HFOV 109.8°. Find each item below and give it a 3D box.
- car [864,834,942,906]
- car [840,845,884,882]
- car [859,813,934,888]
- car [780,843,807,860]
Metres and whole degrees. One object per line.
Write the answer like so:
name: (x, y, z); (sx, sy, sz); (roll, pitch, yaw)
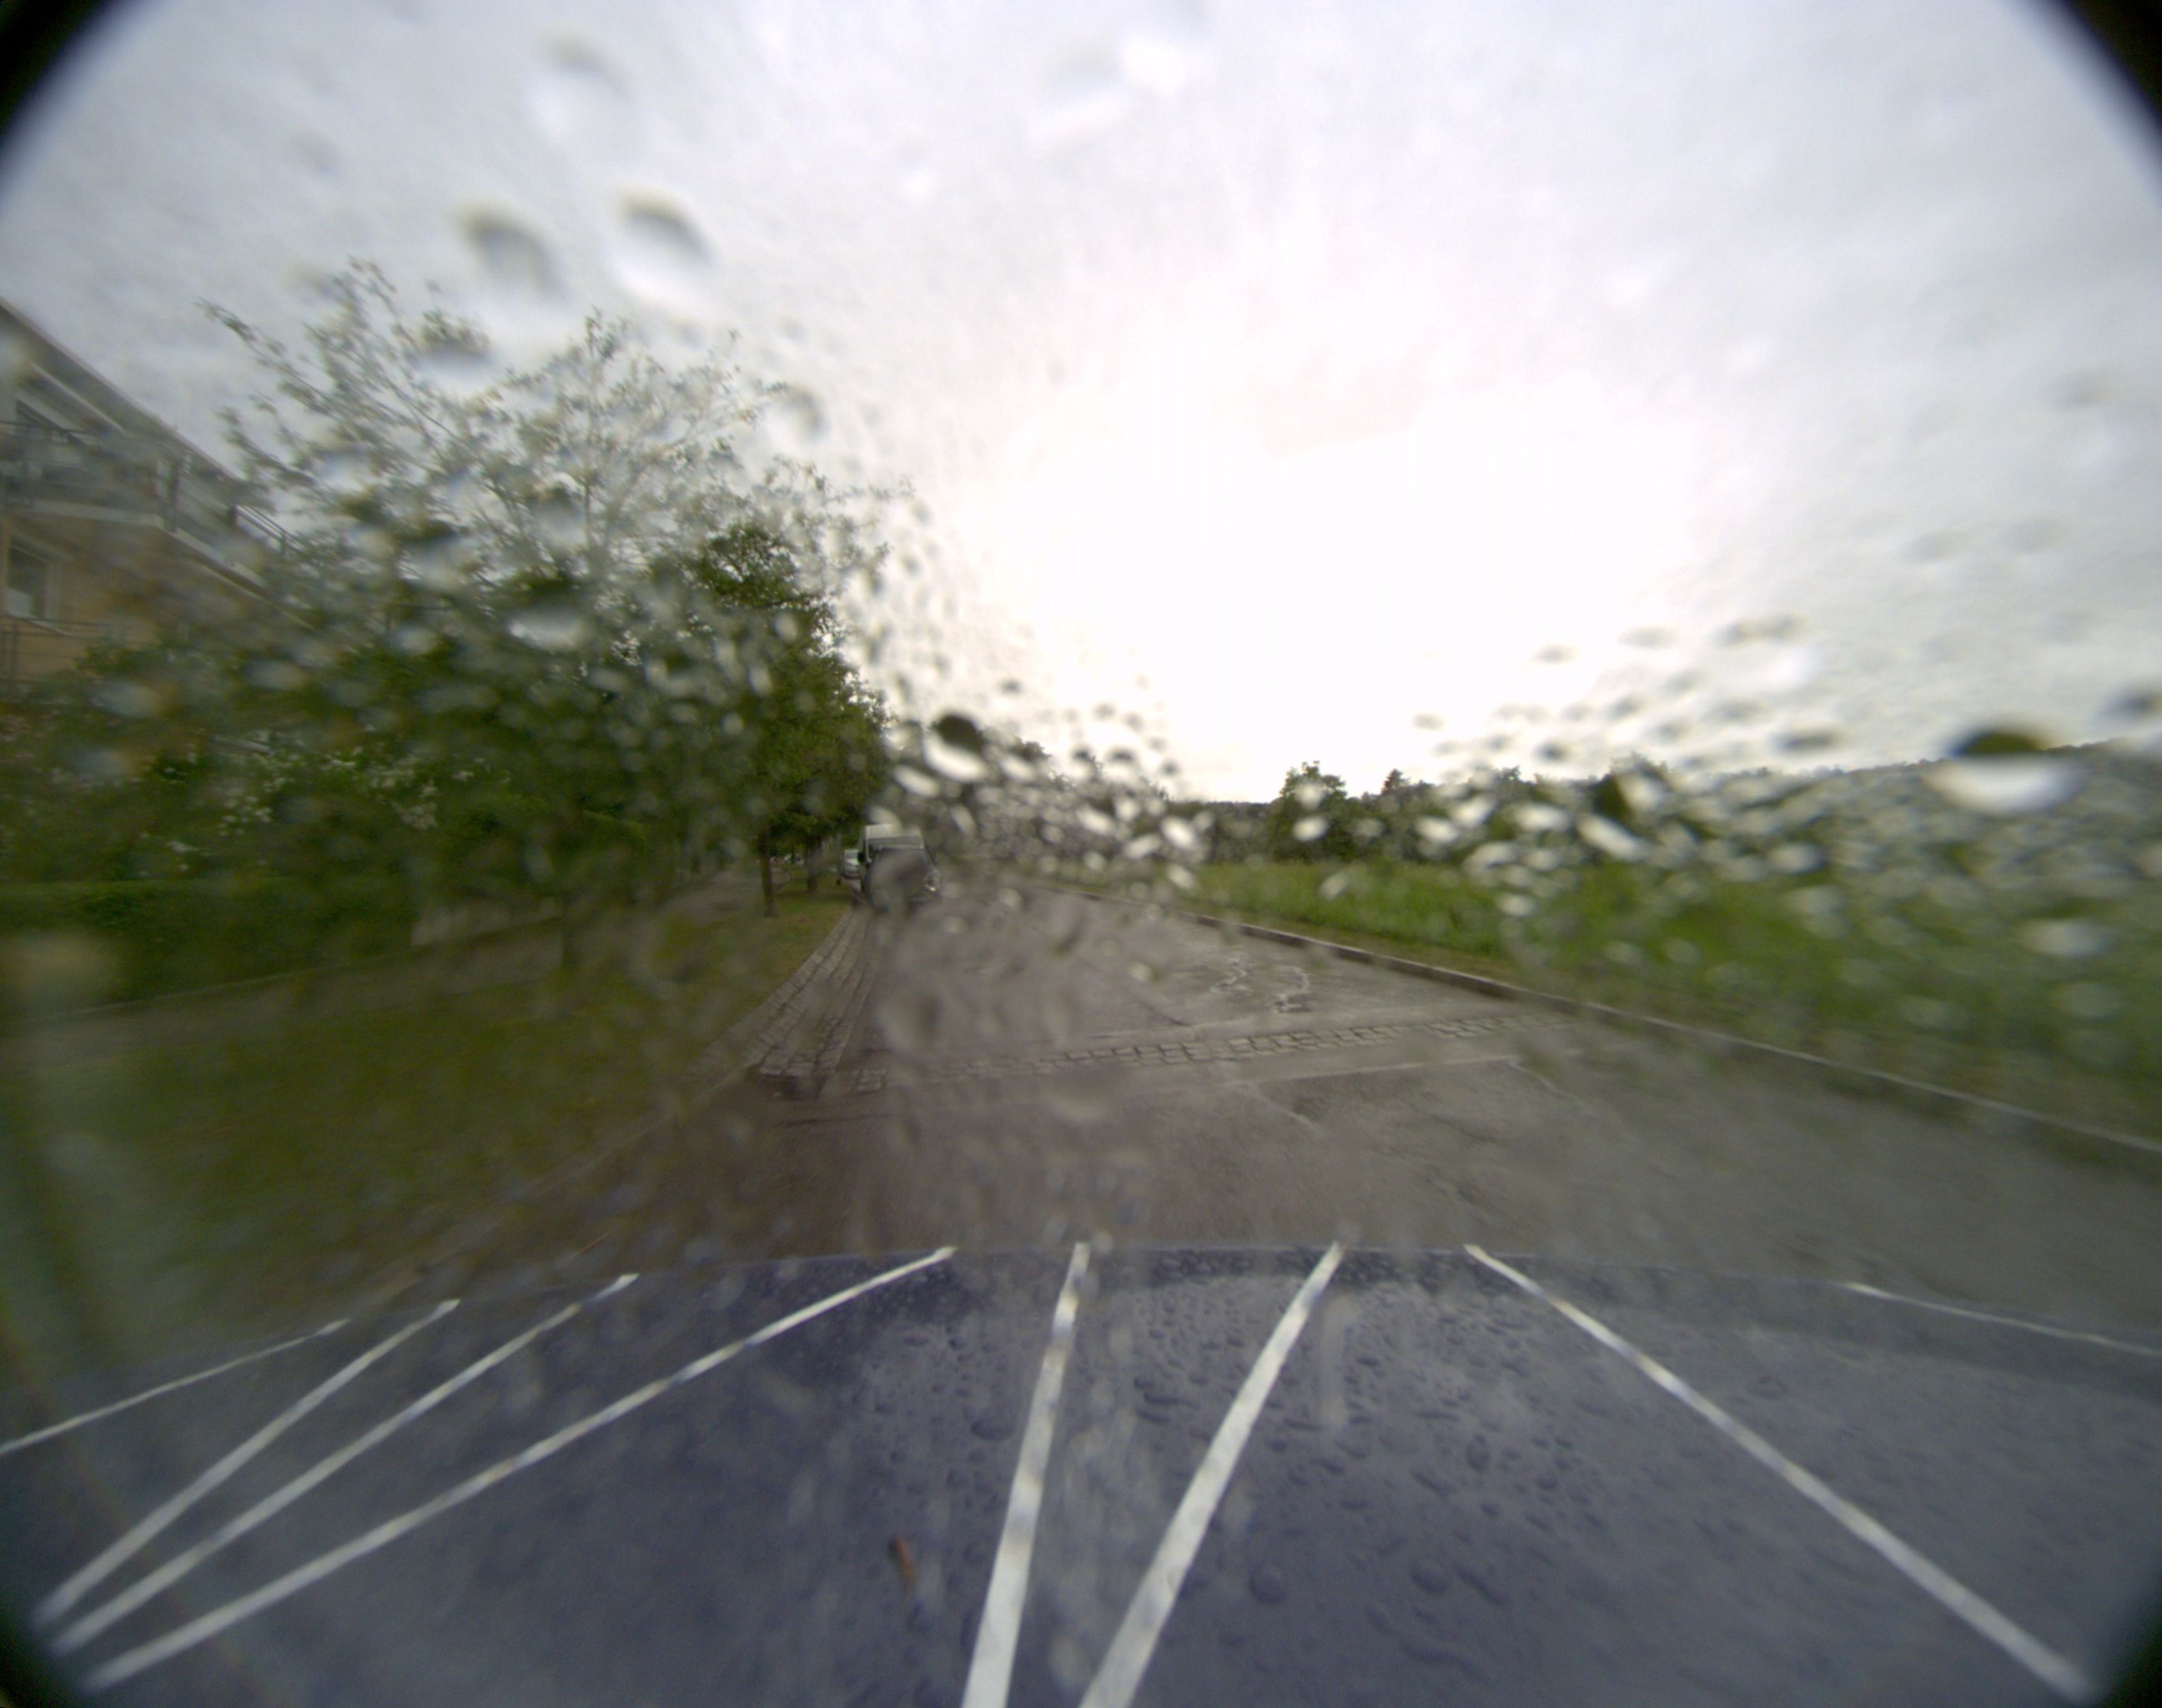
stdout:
car: (-4.855, 0.318, 20.686); (1.818, 1.717, 4.645); (-1, 2, -14)
car: (-11.777, 0.460, 40.724); (1.827, 1.775, 3.810); (-1, 3, -23)
car: (-6.531, -0.165, 26.452); (2.056, 2.318, 5.397); (-1, 1, -19)
car: (-33.002, -0.310, 87.302); (1.980, 1.838, 3.989); (-2, 3, -34)
